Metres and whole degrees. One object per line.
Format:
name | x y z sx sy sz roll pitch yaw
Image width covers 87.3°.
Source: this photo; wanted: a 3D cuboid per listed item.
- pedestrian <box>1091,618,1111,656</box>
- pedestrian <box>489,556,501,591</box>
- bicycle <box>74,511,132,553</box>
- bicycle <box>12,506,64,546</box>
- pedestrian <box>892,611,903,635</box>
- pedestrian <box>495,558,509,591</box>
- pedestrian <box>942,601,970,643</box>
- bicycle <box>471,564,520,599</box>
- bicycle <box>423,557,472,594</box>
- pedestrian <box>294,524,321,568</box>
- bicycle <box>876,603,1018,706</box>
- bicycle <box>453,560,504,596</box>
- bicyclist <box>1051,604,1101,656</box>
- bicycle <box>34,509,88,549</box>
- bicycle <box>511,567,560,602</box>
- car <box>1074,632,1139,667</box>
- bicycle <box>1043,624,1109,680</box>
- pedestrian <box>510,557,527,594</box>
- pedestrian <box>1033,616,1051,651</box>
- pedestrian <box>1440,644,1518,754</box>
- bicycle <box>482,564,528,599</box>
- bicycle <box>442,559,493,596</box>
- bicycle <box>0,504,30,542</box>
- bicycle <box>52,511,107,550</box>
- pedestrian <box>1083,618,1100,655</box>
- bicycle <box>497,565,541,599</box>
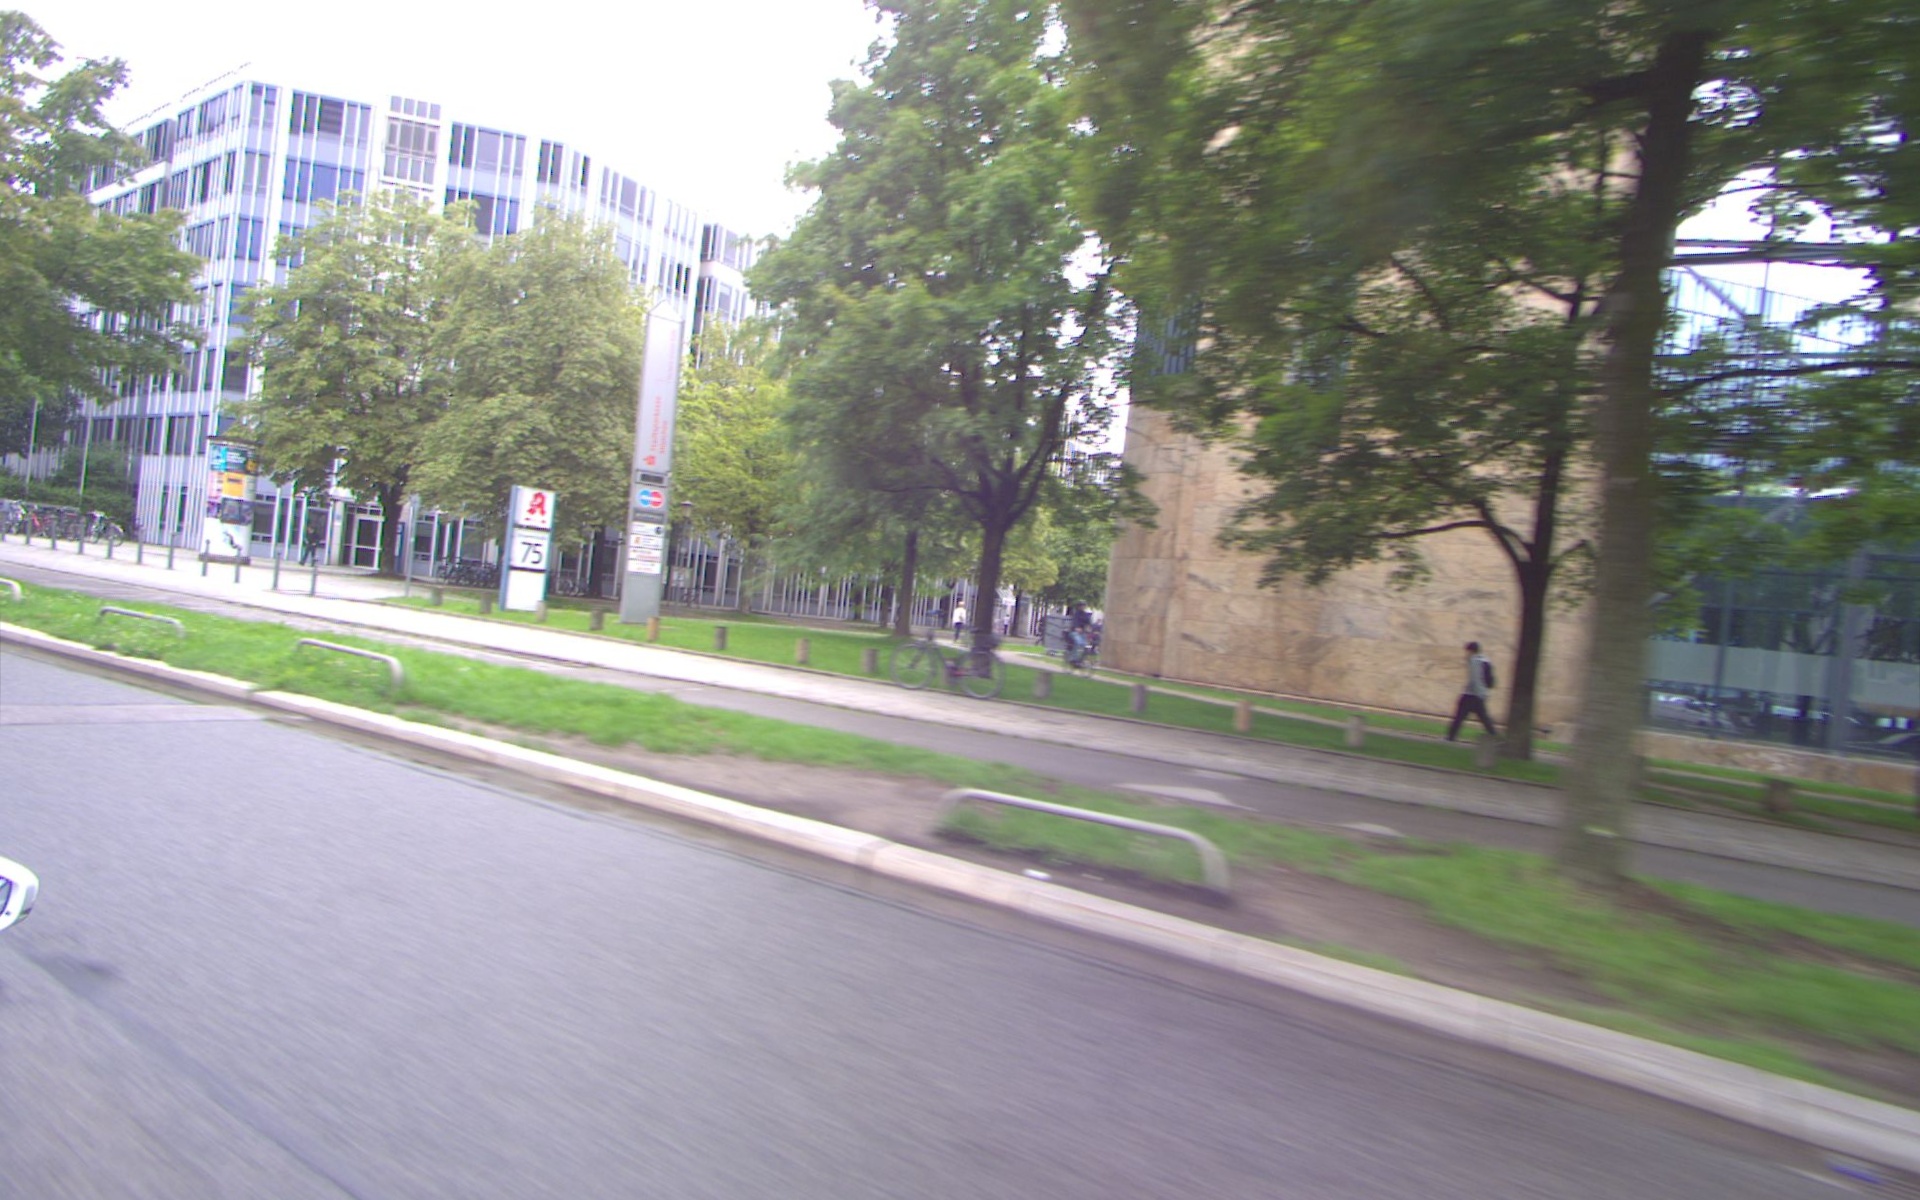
pedestrian | 6.576 1.717 47.053 0.498 1.699 0.587 5 1 -36
pedestrian | -21.779 -1.249 47.135 0.307 1.592 0.349 5 1 -43
bicycle | -31.421 -2.502 36.876 2.433 1.310 0.509 6 1 23
bicycle | -32.040 -2.571 34.968 2.103 1.204 0.446 6 1 23
pedestrian | -4.501 1.641 72.637 0.477 1.679 0.482 6 1 31
pedestrian | -21.418 -1.203 47.078 0.342 1.510 0.346 6 1 -1
pedestrian | -0.178 0.965 43.188 0.851 1.699 0.587 6 1 30
bicycle | -19.621 -0.792 42.495 2.136 1.276 0.509 6 1 23
bicycle | -20.796 -1.008 40.803 2.019 1.276 0.607 6 1 26
pedestrian | -28.191 -2.322 43.477 0.760 1.795 0.684 7 1 44
bicycle | -0.199 0.777 14.680 1.887 1.266 0.621 6 1 27
bicycle | -19.994 -0.898 41.767 2.136 1.276 0.509 6 1 23
bicyclist | 2.771 0.707 24.138 0.717 1.144 0.954 6 1 -22
bicycle | -31.599 -2.504 35.357 2.103 1.204 0.512 6 1 23
bicycle | -18.630 -0.684 44.153 2.136 1.276 0.553 6 1 23
car | 5.018 1.693 34.562 2.042 1.026 0.677 4 0 29
bicycle | 2.750 1.224 24.088 0.717 1.144 1.758 6 0 -22
pedestrian | -20.870 -1.157 47.564 0.585 1.679 0.621 6 1 -27
pedestrian | 3.996 1.622 48.866 0.507 1.652 0.503 7 1 42
pedestrian | 8.504 1.611 16.489 0.569 1.667 0.868 5 1 -45
bicycle | -19.491 -0.782 43.108 1.985 1.276 0.509 6 1 23
bicycle | -20.181 -0.923 41.216 2.136 1.276 0.509 6 1 23
bicycle | -32.606 -2.657 34.510 1.921 1.204 0.446 6 1 31
bicycle | -31.611 -2.500 36.117 2.103 1.204 0.578 6 1 23
pedestrian | 6.253 1.735 47.872 0.494 1.699 0.592 6 1 -5
bicycle | -19.183 -0.785 43.762 1.919 1.276 0.509 6 1 23
